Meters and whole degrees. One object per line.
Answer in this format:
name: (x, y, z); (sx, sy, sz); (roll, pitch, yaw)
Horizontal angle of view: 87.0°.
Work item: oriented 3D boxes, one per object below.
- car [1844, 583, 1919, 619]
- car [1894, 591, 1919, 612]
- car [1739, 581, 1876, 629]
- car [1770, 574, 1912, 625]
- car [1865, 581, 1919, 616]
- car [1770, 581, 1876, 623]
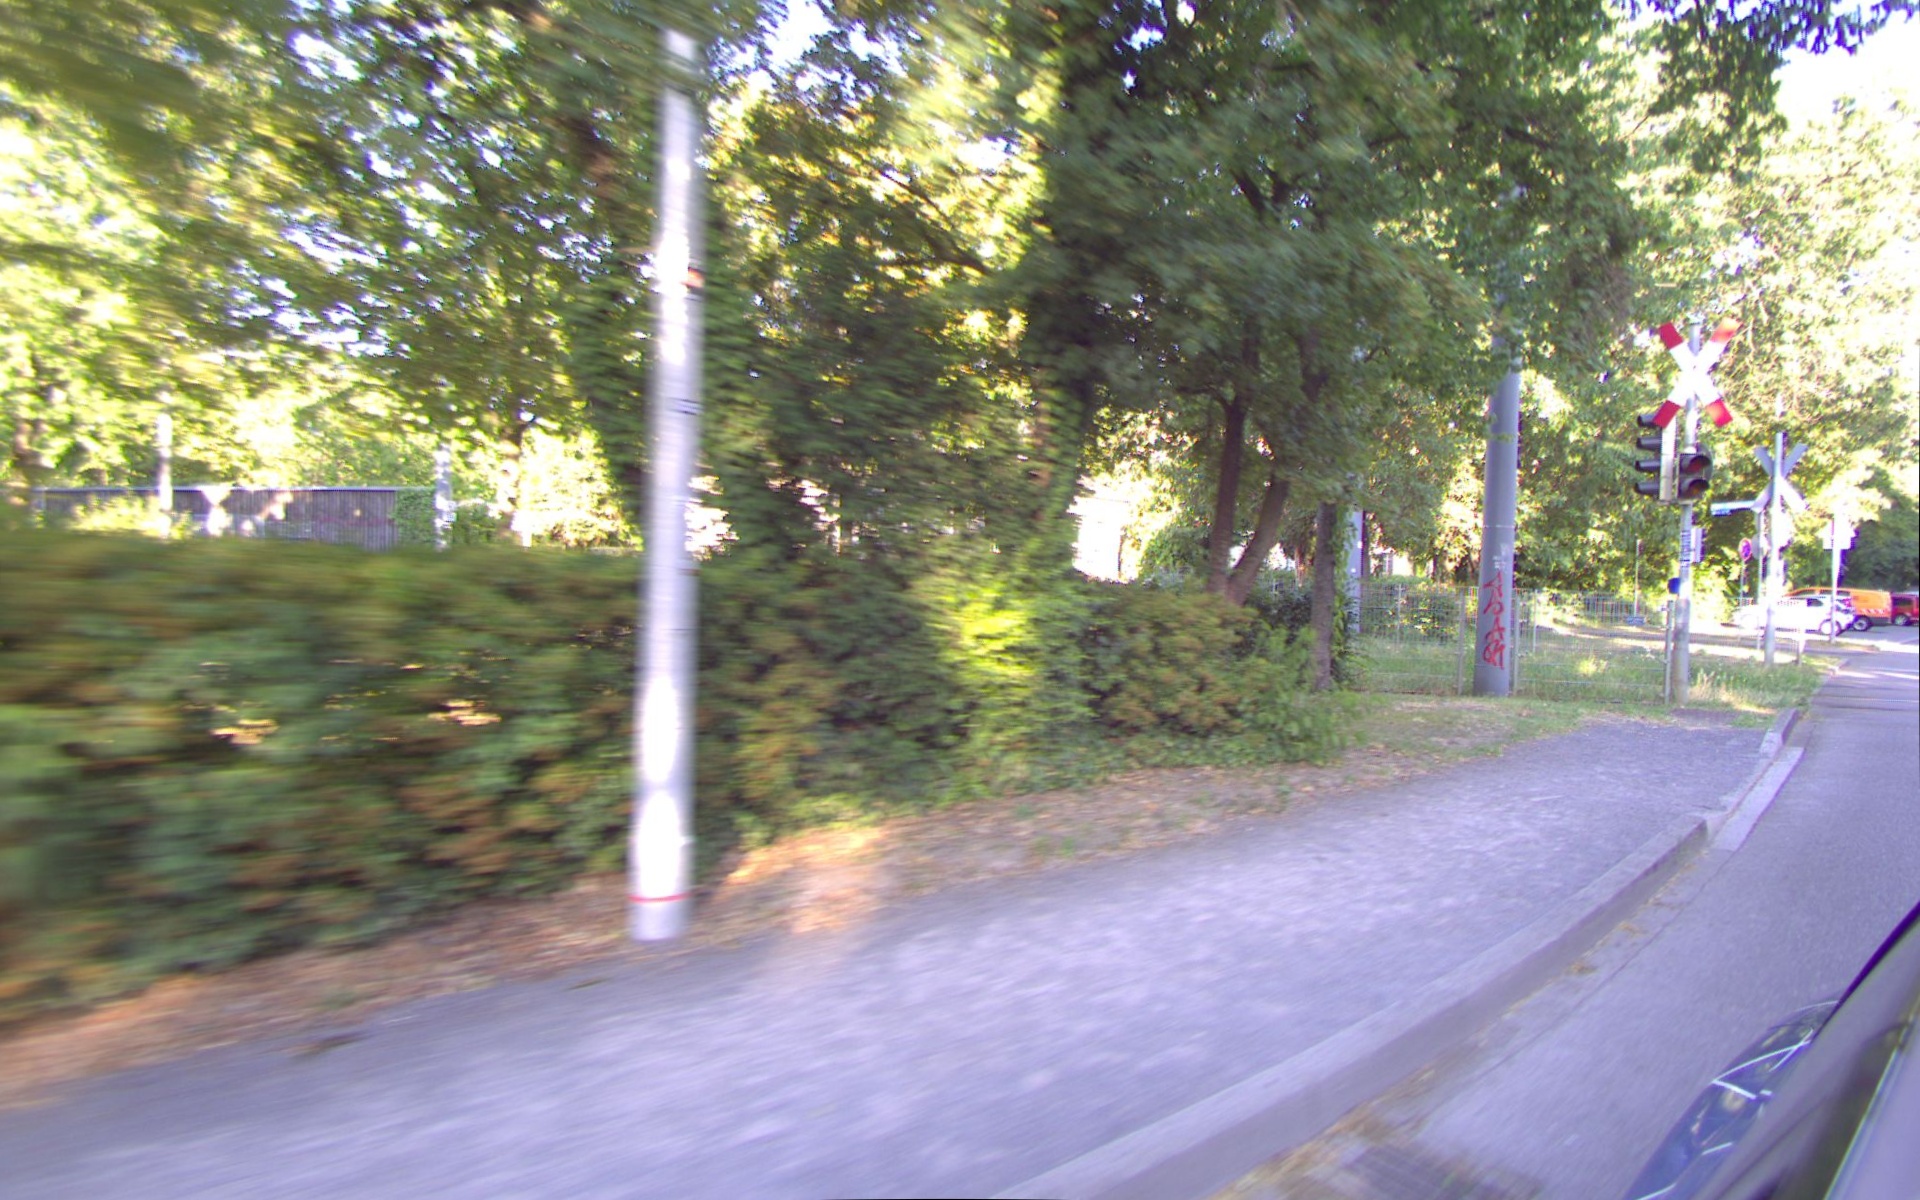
car: (54.153, 0.060, 58.647); (1.883, 1.885, 3.987); (0, 4, -35)
car: (71.570, 0.187, 74.097); (1.679, 1.484, 4.446); (0, 3, -37)
car: (33.987, 0.168, 40.643); (1.706, 1.565, 3.993); (0, 5, -44)
car: (41.644, -0.083, 47.931); (2.046, 2.021, 4.803); (0, 5, -44)
car: (56.328, -0.064, 59.989); (1.750, 1.906, 3.614); (0, 4, -36)
car: (39.523, 0.063, 46.387); (1.649, 1.651, 3.406); (0, 4, -40)
